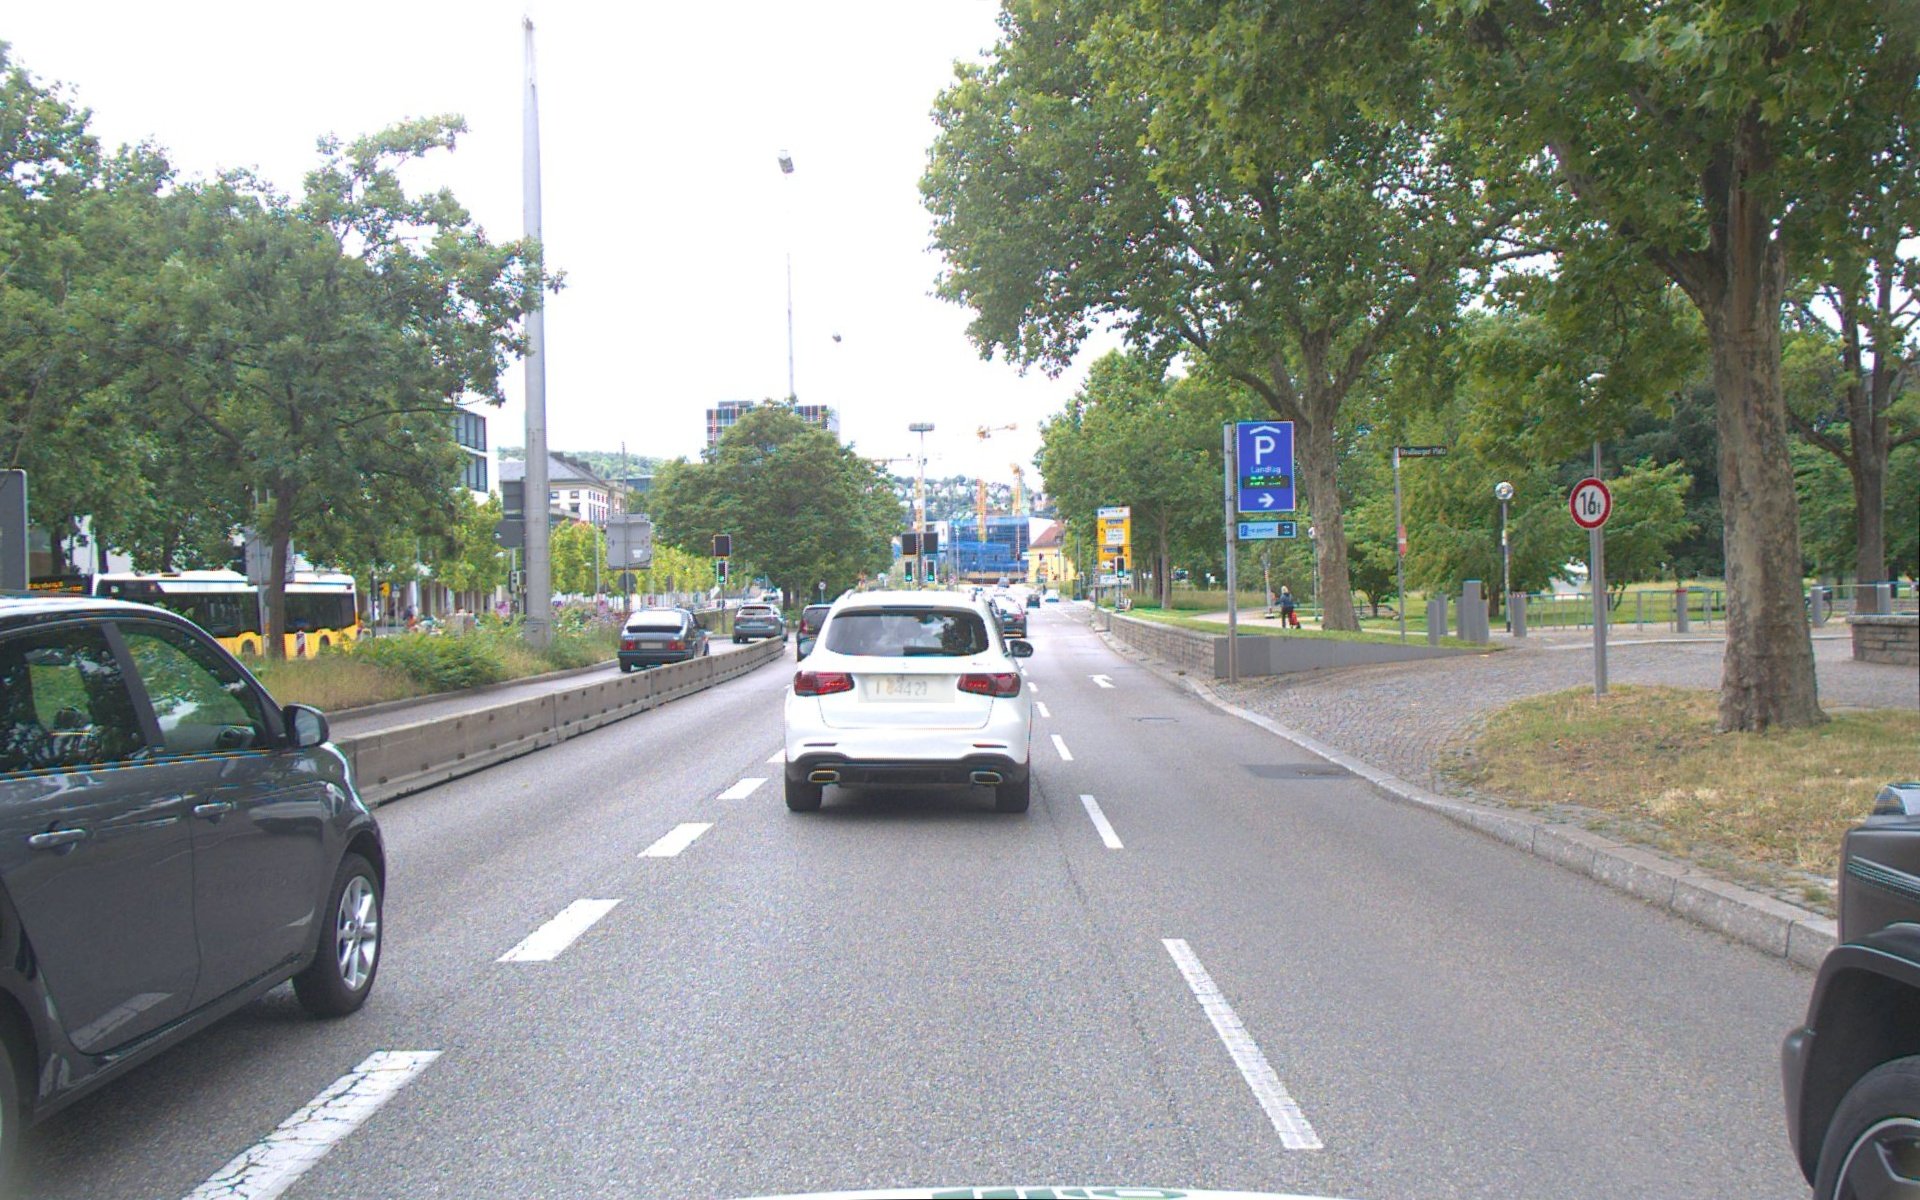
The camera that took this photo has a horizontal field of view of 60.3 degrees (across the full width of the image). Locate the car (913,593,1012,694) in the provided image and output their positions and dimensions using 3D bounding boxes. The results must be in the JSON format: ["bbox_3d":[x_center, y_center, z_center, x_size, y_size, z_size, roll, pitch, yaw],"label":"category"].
[{"bbox_3d":[0.083,0.772,29.694,1.638,1.656,4.000,1,-1,1],"label":"car"}]

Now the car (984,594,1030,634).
[{"bbox_3d":[1.953,0.567,69.424,1.684,1.612,3.999,1,0,-1],"label":"car"}]

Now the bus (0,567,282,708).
[{"bbox_3d":[-22.283,0.933,45.653,2.853,3.363,10.448,-1,0,0],"label":"bus"}]

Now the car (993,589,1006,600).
[{"bbox_3d":[5.871,-0.786,244.804,1.684,1.612,3.999,1,0,-1],"label":"car"}]

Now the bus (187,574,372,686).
[{"bbox_3d":[-22.306,0.943,54.728,2.863,3.361,7.706,-1,0,0],"label":"bus"}]

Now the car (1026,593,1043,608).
[{"bbox_3d":[8.417,0.089,187.138,1.684,1.612,3.999,1,0,-1],"label":"car"}]

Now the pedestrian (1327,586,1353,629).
[{"bbox_3d":[13.738,0.278,59.851,0.770,1.553,0.683,1,-1,1],"label":"pedestrian"}]

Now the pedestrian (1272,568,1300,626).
[{"bbox_3d":[11.679,-0.101,59.250,0.838,2.049,0.815,1,-2,-1],"label":"pedestrian"}]

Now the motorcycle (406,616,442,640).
[{"bbox_3d":[-30.145,1.572,92.997,1.859,1.255,0.654,-1,-2,-25],"label":"motorcycle"}]

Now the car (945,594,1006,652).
[{"bbox_3d":[0.428,0.663,49.355,1.684,1.612,3.999,1,0,-1],"label":"car"}]

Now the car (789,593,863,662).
[{"bbox_3d":[-3.498,0.688,43.644,1.684,1.708,3.999,1,0,-1],"label":"car"}]

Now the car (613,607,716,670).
[{"bbox_3d":[-6.628,0.830,37.446,1.684,1.315,3.999,1,0,-1],"label":"car"}]

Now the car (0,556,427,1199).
[{"bbox_3d":[-2.965,0.683,4.894,1.594,1.535,3.539,0,-1,0],"label":"car"}]

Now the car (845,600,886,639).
[{"bbox_3d":[-4.097,0.822,72.009,1.684,1.612,3.998,1,0,-2],"label":"car"}]

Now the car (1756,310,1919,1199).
[{"bbox_3d":[2.591,0.474,0.940,1.937,1.926,4.705,1,-1,-1],"label":"car"}]

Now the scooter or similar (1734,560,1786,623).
[{"bbox_3d":[16.405,-0.167,33.907,0.701,1.268,0.728,1,-1,-1],"label":"scooter or similar"}]

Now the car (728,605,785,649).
[{"bbox_3d":[-7.692,1.002,62.791,1.717,1.581,3.999,1,0,-1],"label":"car"}]

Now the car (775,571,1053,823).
[{"bbox_3d":[-0.356,0.700,13.476,1.901,1.713,3.999,1,-1,-1],"label":"car"}]

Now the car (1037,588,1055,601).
[{"bbox_3d":[11.356,-0.719,218.436,1.954,1.646,3.996,1,-1,-4],"label":"car"}]

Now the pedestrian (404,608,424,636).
[{"bbox_3d":[-31.627,1.255,95.807,0.875,1.584,0.589,-1,0,-42],"label":"pedestrian"}]

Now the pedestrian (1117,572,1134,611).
[{"bbox_3d":[7.329,-0.371,73.345,0.683,1.685,0.684,1,-1,0],"label":"pedestrian"}]

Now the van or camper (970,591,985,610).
[{"bbox_3d":[2.269,0.075,215.628,1.883,2.360,3.999,0,-2,0],"label":"van or camper"}]
